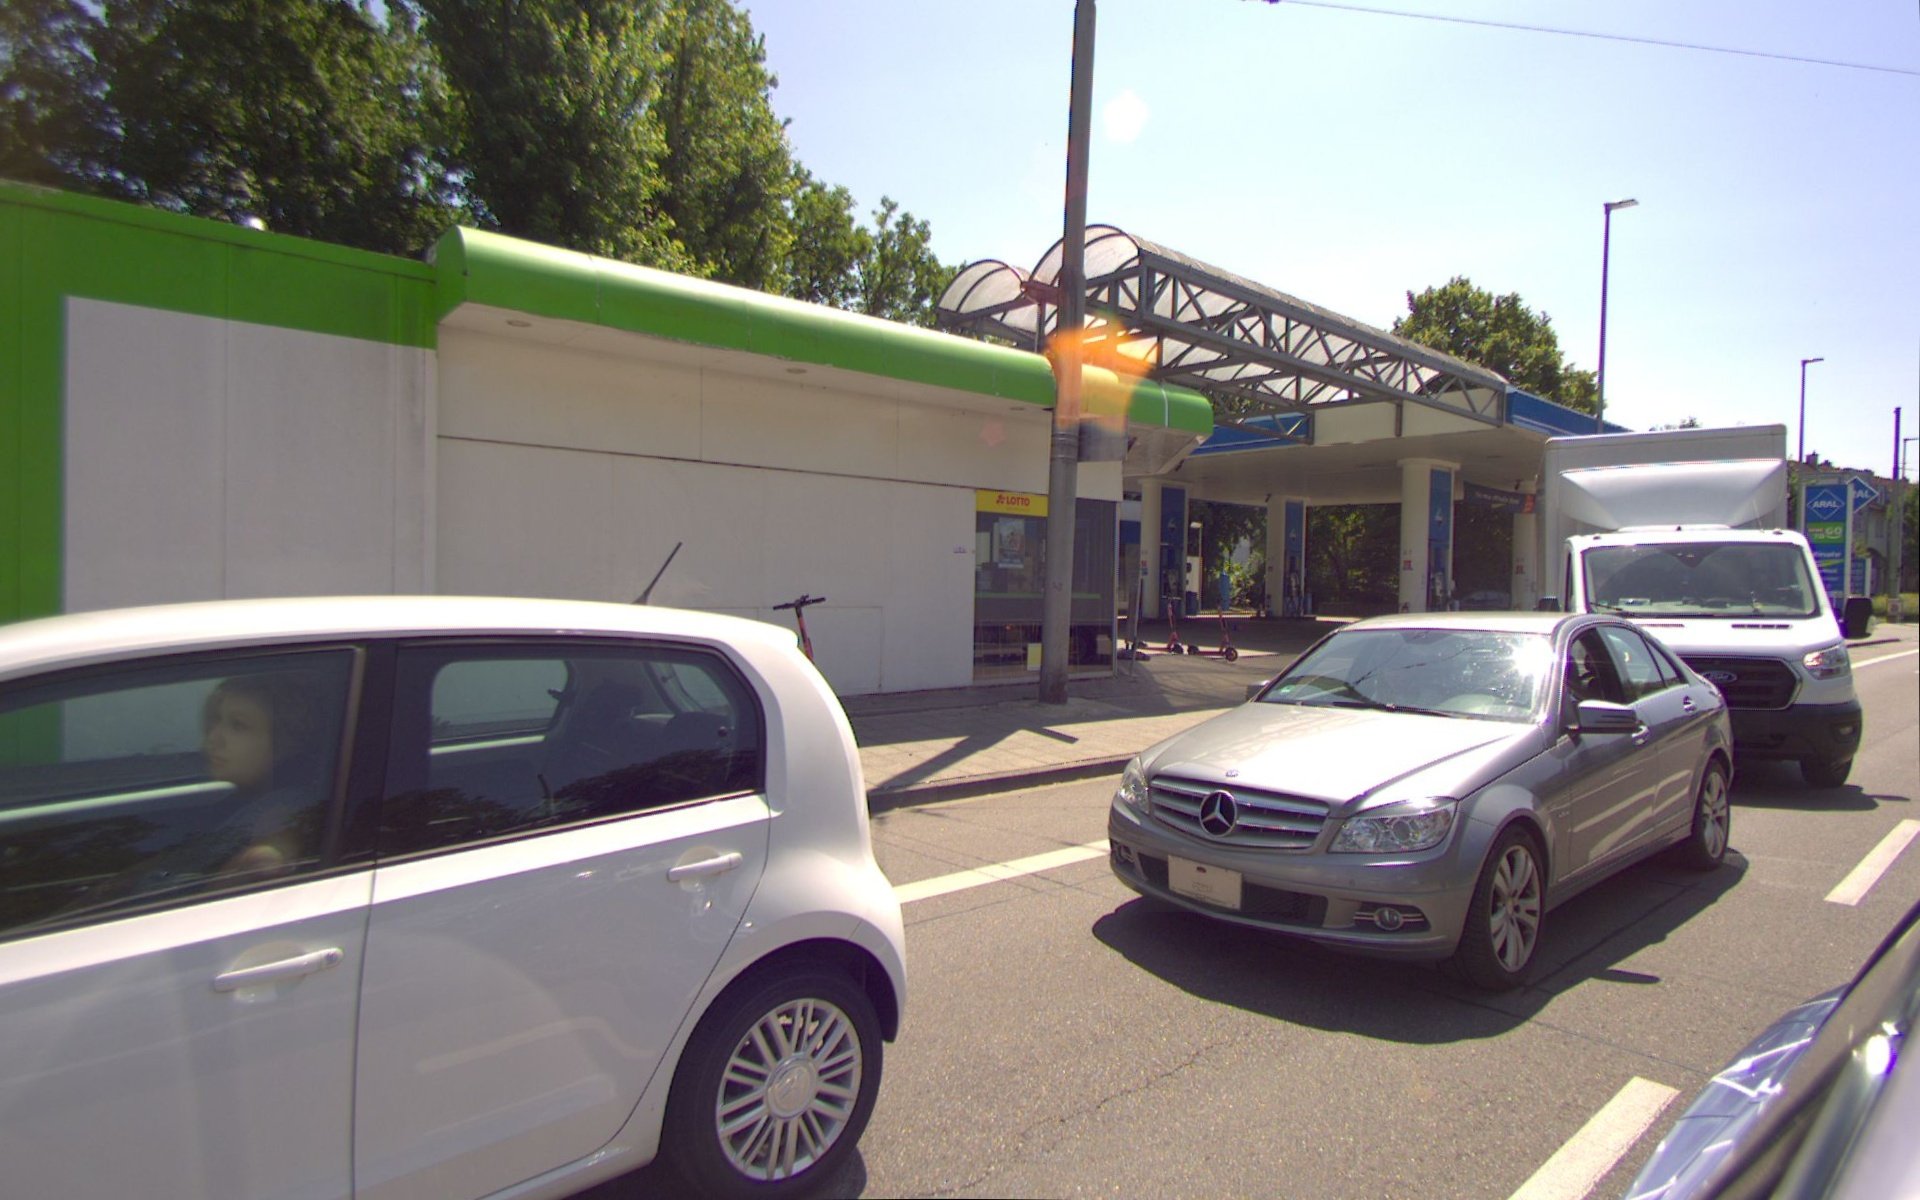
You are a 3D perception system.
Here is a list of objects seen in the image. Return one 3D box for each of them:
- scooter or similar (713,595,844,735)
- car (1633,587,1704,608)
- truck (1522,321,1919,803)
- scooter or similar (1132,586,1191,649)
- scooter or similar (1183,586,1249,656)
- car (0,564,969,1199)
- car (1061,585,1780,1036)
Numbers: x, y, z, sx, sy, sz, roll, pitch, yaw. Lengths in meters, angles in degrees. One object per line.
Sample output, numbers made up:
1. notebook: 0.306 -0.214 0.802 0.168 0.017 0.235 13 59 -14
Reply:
1. scooter or similar: -1.672 0.569 9.377 1.117 1.209 0.384 0 4 -36
2. car: 57.032 -0.235 81.496 1.961 1.540 4.230 0 1 -32
3. truck: 7.766 -0.344 11.115 2.404 3.434 7.760 1 1 27
4. scooter or similar: 3.959 0.322 19.925 0.377 1.191 1.138 0 1 -39
5. scooter or similar: 4.777 0.368 18.959 0.404 1.256 1.176 0 1 -39
6. car: -1.810 0.676 2.274 3.458 1.470 1.610 0 0 -40
7. car: 2.713 0.679 5.429 4.339 1.467 1.800 0 1 -40
